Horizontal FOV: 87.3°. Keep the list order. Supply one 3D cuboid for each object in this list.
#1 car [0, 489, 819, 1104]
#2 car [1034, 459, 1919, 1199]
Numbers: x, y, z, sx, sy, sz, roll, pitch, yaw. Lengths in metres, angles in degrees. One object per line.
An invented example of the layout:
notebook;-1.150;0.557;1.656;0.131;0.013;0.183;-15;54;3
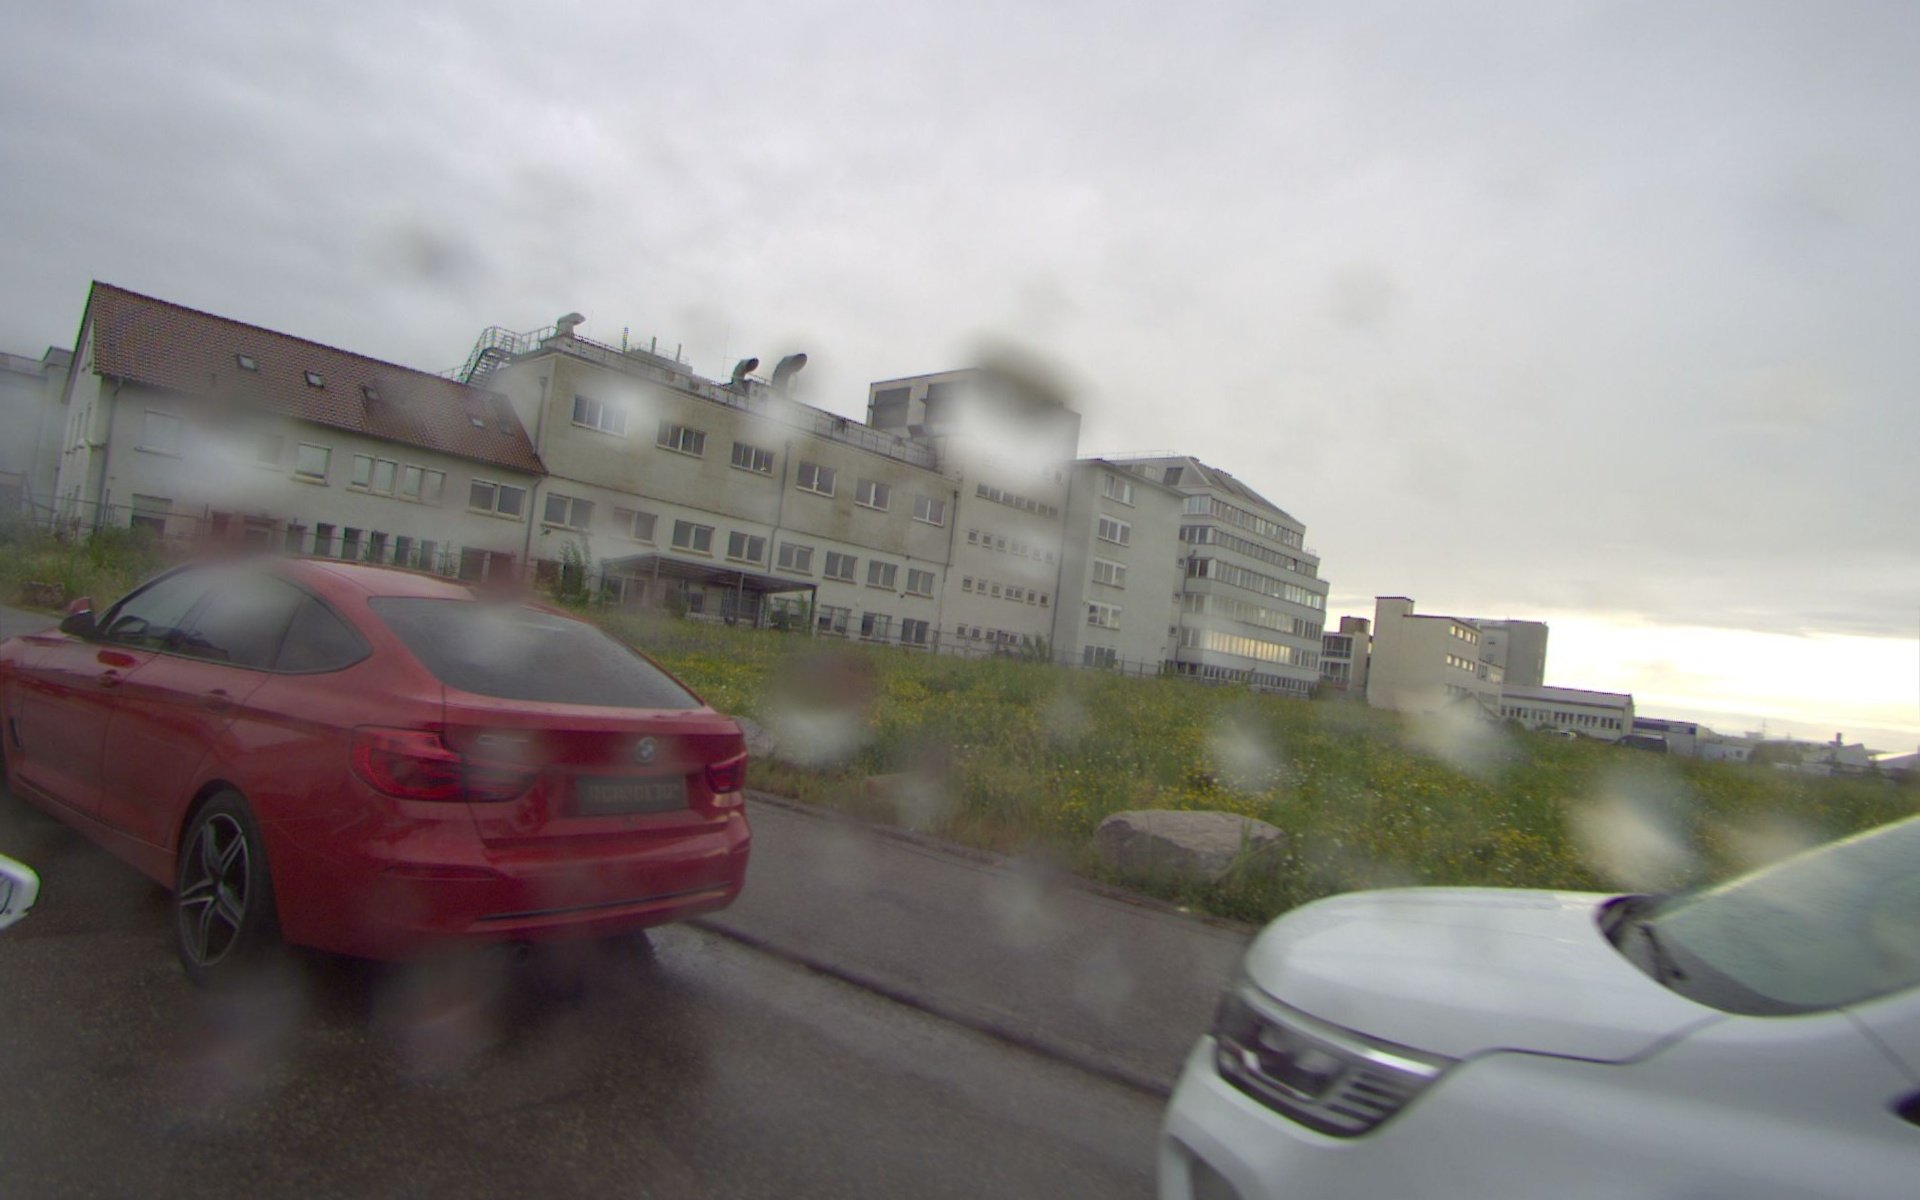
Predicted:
car;-3.032;0.504;4.762;4.568;1.591;1.646;6;-3;33
car;2.560;0.973;1.521;4.498;1.845;1.774;7;-3;31
